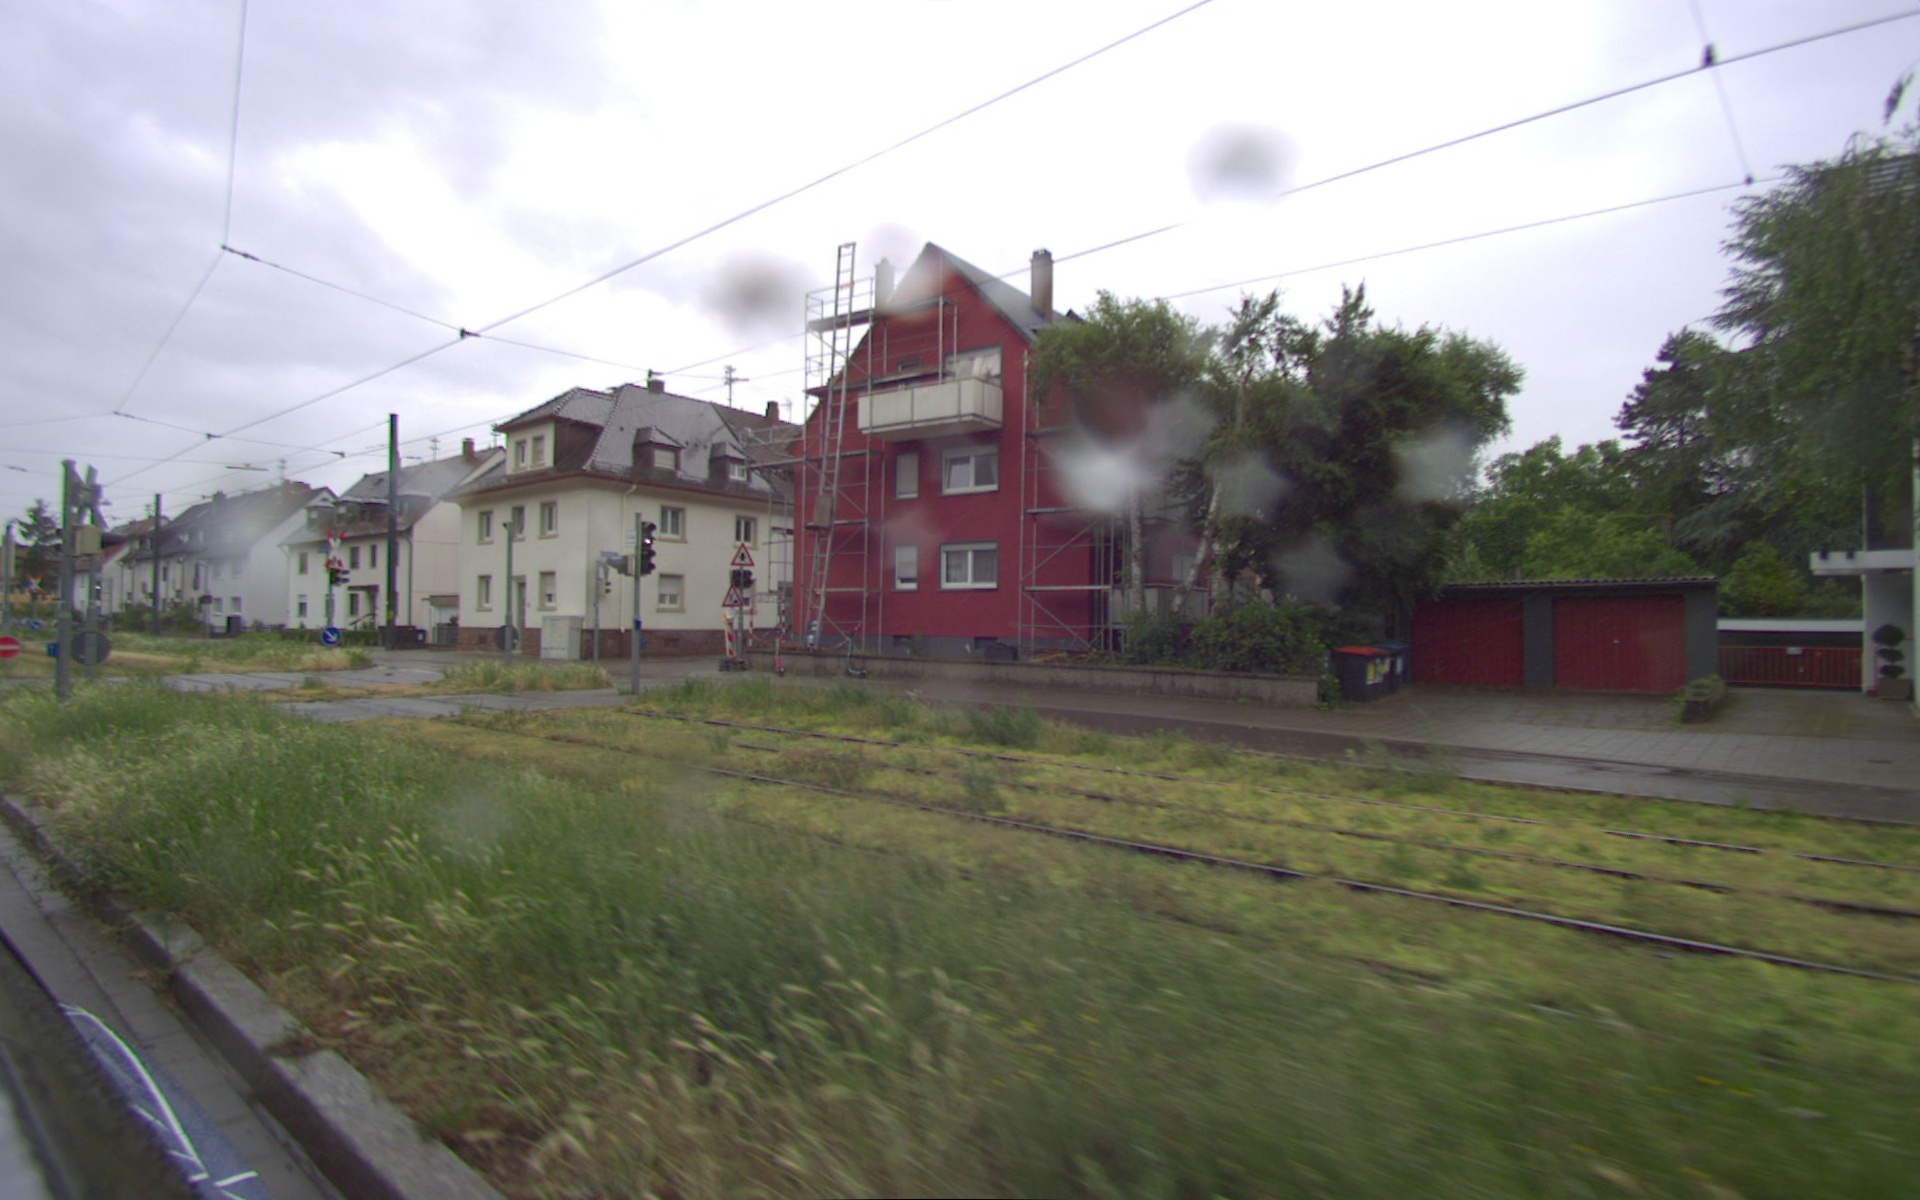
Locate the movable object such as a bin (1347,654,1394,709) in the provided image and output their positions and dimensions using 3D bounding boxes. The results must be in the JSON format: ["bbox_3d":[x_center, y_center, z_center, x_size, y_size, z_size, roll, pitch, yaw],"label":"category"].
[{"bbox_3d":[8.440,1.655,20.822,0.757,1.090,0.554,-2,-4,42],"label":"movable object such as a bin"}]

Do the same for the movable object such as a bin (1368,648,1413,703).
[{"bbox_3d":[9.275,1.608,21.813,0.757,1.147,0.554,-2,-4,42],"label":"movable object such as a bin"}]

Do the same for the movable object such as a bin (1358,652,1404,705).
[{"bbox_3d":[8.865,1.642,21.298,0.757,1.090,0.554,-2,-4,42],"label":"movable object such as a bin"}]

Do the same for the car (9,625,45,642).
[{"bbox_3d":[-81.909,2.925,88.843,3.933,1.437,1.755,-1,-4,39],"label":"car"}]

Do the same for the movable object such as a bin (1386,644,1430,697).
[{"bbox_3d":[10.068,1.579,22.745,0.757,1.147,0.554,-2,-4,42],"label":"movable object such as a bin"}]

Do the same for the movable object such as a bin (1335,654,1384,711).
[{"bbox_3d":[8.031,1.643,20.348,0.757,1.099,0.637,-2,-3,41],"label":"movable object such as a bin"}]

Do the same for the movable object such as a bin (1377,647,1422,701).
[{"bbox_3d":[9.689,1.627,22.306,0.757,1.147,0.554,-2,-4,42],"label":"movable object such as a bin"}]

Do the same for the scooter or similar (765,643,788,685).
[{"bbox_3d":[-5.212,1.798,28.680,0.434,1.138,1.287,1,-2,-19],"label":"scooter or similar"}]

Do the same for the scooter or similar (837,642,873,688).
[{"bbox_3d":[-2.786,1.713,26.865,0.388,1.189,1.286,2,-2,-34],"label":"scooter or similar"}]

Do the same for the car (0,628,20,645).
[{"bbox_3d":[-92.062,3.460,97.201,4.750,1.543,1.868,-1,-4,38],"label":"car"}]
